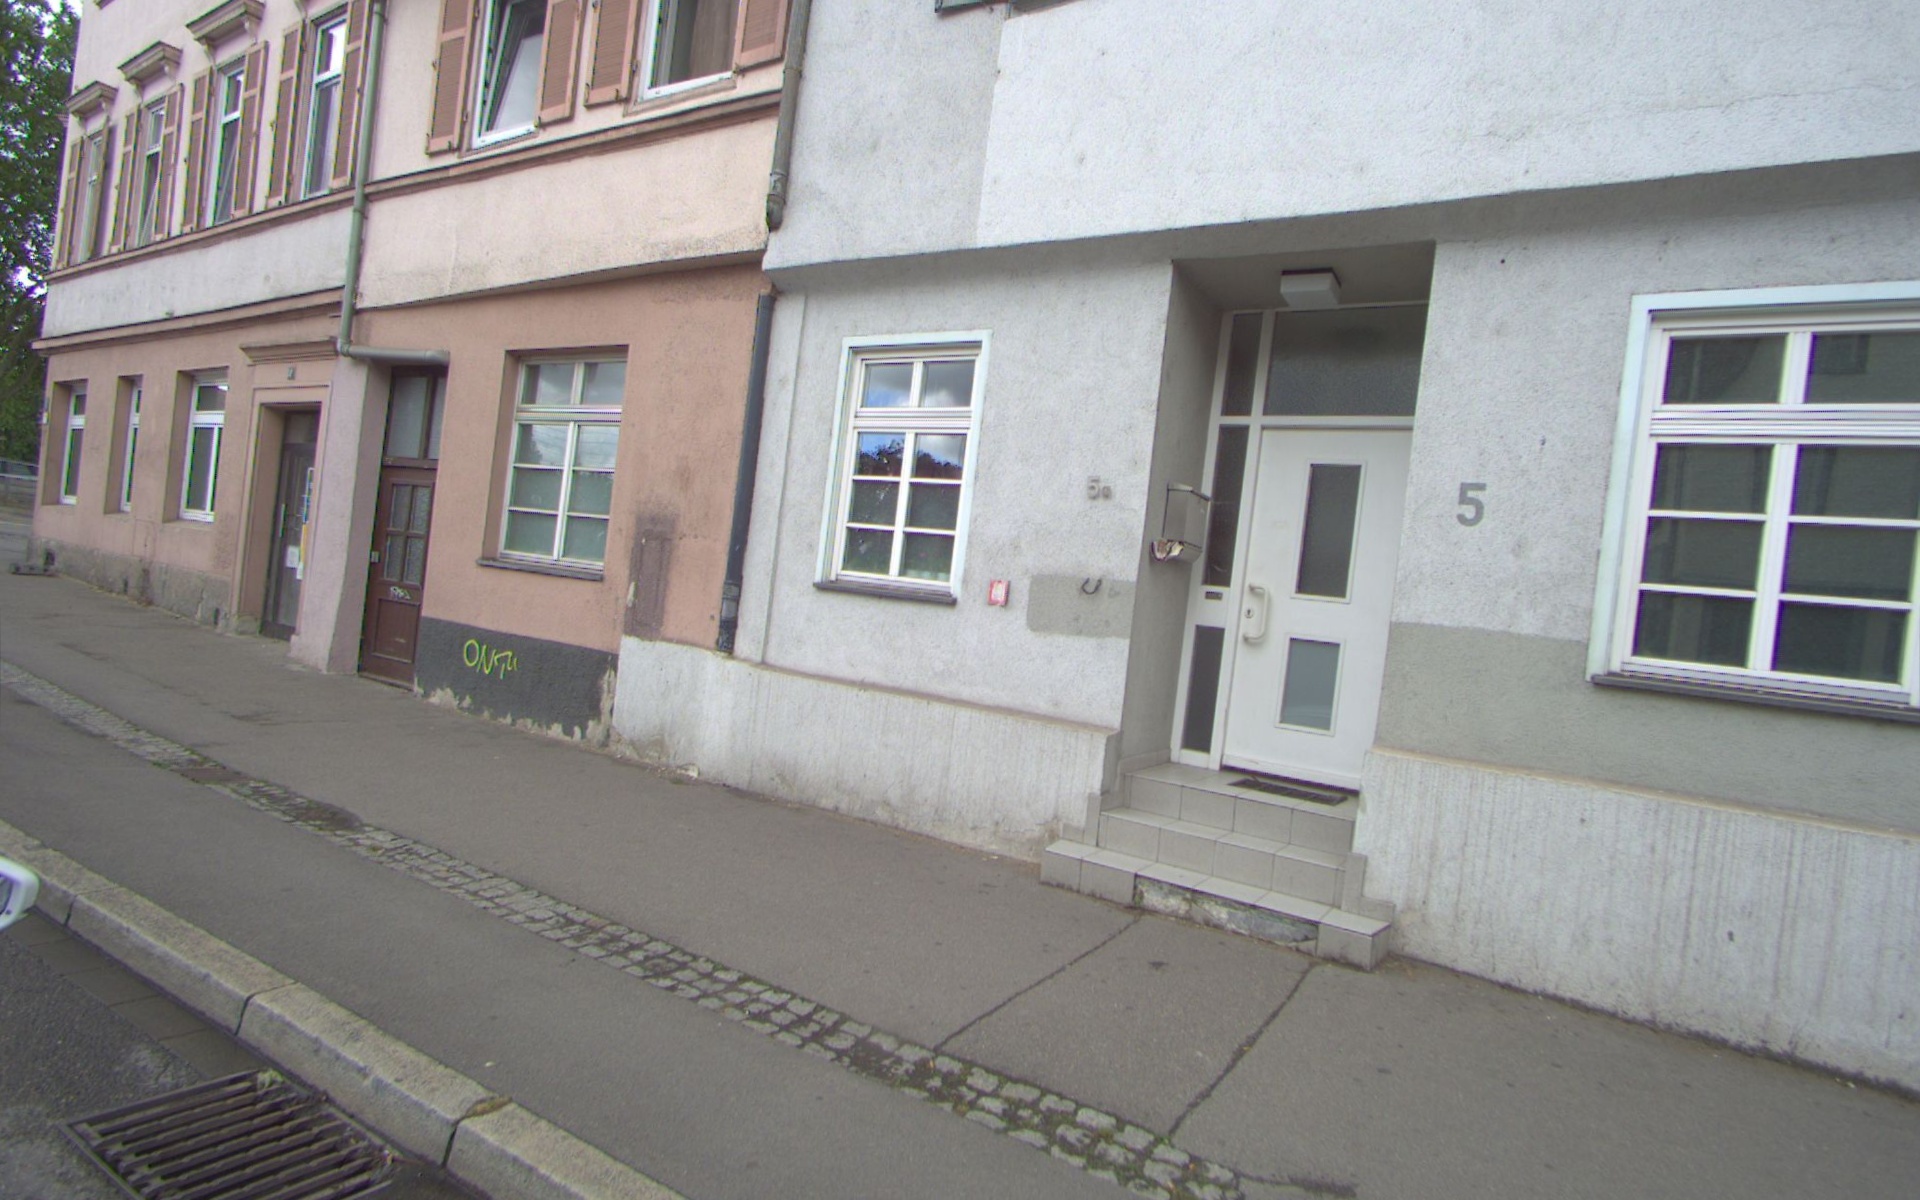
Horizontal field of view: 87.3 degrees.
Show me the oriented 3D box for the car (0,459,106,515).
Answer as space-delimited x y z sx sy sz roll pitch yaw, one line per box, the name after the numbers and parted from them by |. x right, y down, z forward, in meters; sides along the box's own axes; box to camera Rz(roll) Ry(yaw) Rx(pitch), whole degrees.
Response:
-32.868 -4.071 35.037 1.865 1.470 4.290 7 -1 21 | car
